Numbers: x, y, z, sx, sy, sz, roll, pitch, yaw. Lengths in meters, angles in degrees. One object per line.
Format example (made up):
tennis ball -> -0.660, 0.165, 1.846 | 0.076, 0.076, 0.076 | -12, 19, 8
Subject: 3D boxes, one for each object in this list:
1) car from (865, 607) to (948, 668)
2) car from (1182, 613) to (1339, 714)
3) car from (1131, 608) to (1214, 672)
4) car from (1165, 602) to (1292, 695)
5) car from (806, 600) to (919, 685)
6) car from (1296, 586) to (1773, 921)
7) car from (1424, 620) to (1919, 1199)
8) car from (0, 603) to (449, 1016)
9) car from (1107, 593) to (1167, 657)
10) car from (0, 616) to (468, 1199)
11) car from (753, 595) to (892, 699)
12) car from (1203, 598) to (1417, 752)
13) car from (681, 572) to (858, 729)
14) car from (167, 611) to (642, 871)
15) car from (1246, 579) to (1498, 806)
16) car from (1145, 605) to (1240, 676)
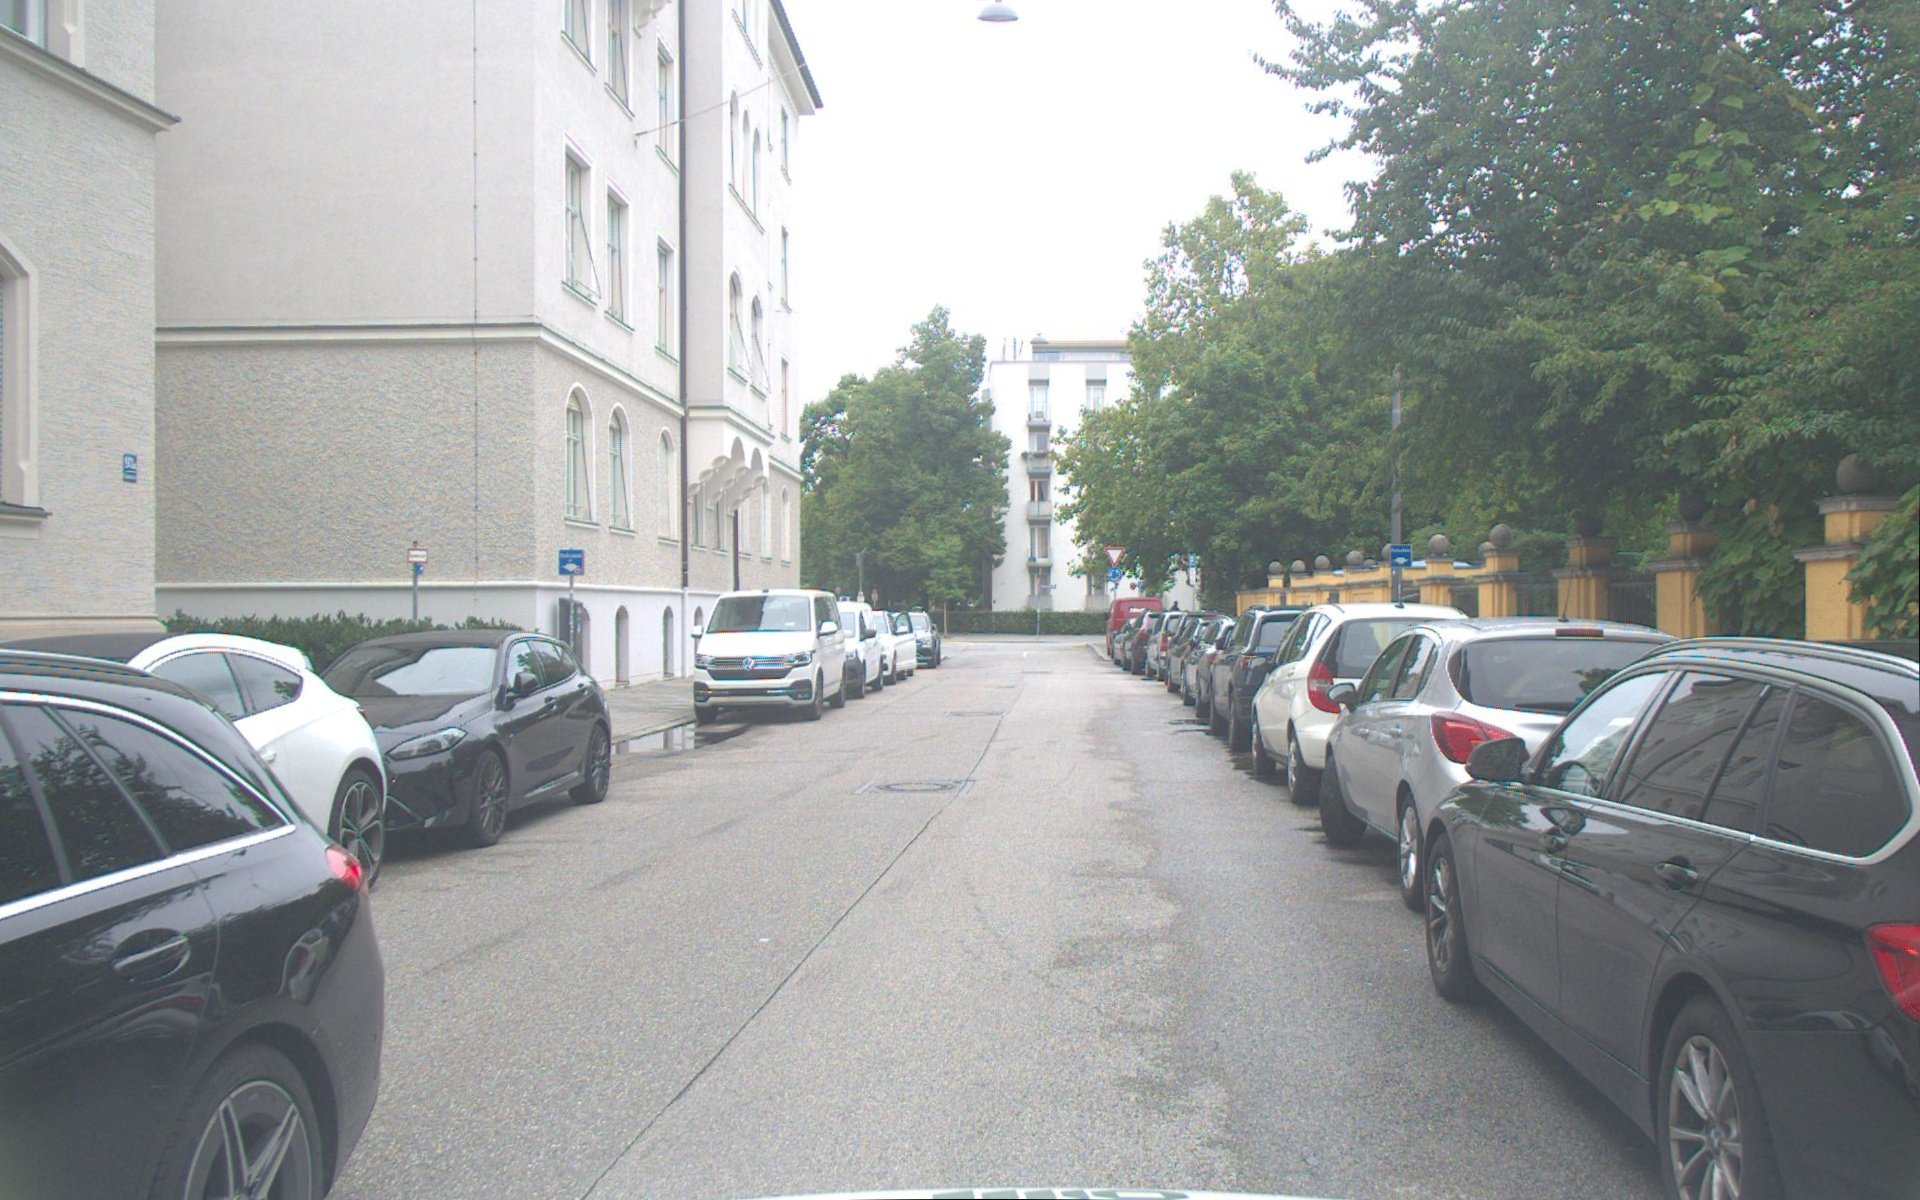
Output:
car -> -1.548, 1.096, 49.814 | 1.973, 1.662, 4.416 | -3, 0, 4
car -> 4.487, 0.919, 25.202 | 1.800, 1.369, 3.948 | 1, -1, 2
car -> 5.502, 1.019, 43.153 | 1.800, 1.545, 3.948 | 1, -1, 2
car -> 4.811, 0.857, 30.113 | 1.800, 1.545, 3.948 | 1, -1, 2
car -> -2.181, 0.920, 38.089 | 1.973, 1.756, 4.277 | -3, 0, 4
car -> 3.119, 0.753, 9.764 | 1.618, 1.545, 3.796 | 1, -1, 2
car -> 2.645, 0.805, 4.745 | 1.799, 1.438, 4.345 | 1, -1, 6
car -> -4.153, 0.794, 7.639 | 1.797, 1.463, 4.277 | -3, 0, 6
car -> 5.936, 0.794, 55.146 | 1.797, 1.960, 4.008 | 3, 0, 8
car -> -2.288, 0.786, 1.920 | 1.835, 1.453, 4.411 | -1, 0, 4
car -> -2.588, 0.858, 32.293 | 1.973, 1.802, 4.416 | -3, 0, 4
car -> 3.981, 0.816, 19.427 | 1.800, 1.578, 3.948 | 1, -1, 2
car -> -2.880, 0.727, 26.063 | 1.846, 2.165, 4.709 | -3, 0, 4
car -> -3.903, 0.900, 12.493 | 1.798, 1.526, 4.277 | -3, 0, 5
car -> 3.463, 0.730, 14.487 | 1.482, 1.690, 3.675 | 1, -1, 4
car -> 5.416, 0.932, 38.955 | 1.800, 1.545, 3.948 | 1, -1, 2
